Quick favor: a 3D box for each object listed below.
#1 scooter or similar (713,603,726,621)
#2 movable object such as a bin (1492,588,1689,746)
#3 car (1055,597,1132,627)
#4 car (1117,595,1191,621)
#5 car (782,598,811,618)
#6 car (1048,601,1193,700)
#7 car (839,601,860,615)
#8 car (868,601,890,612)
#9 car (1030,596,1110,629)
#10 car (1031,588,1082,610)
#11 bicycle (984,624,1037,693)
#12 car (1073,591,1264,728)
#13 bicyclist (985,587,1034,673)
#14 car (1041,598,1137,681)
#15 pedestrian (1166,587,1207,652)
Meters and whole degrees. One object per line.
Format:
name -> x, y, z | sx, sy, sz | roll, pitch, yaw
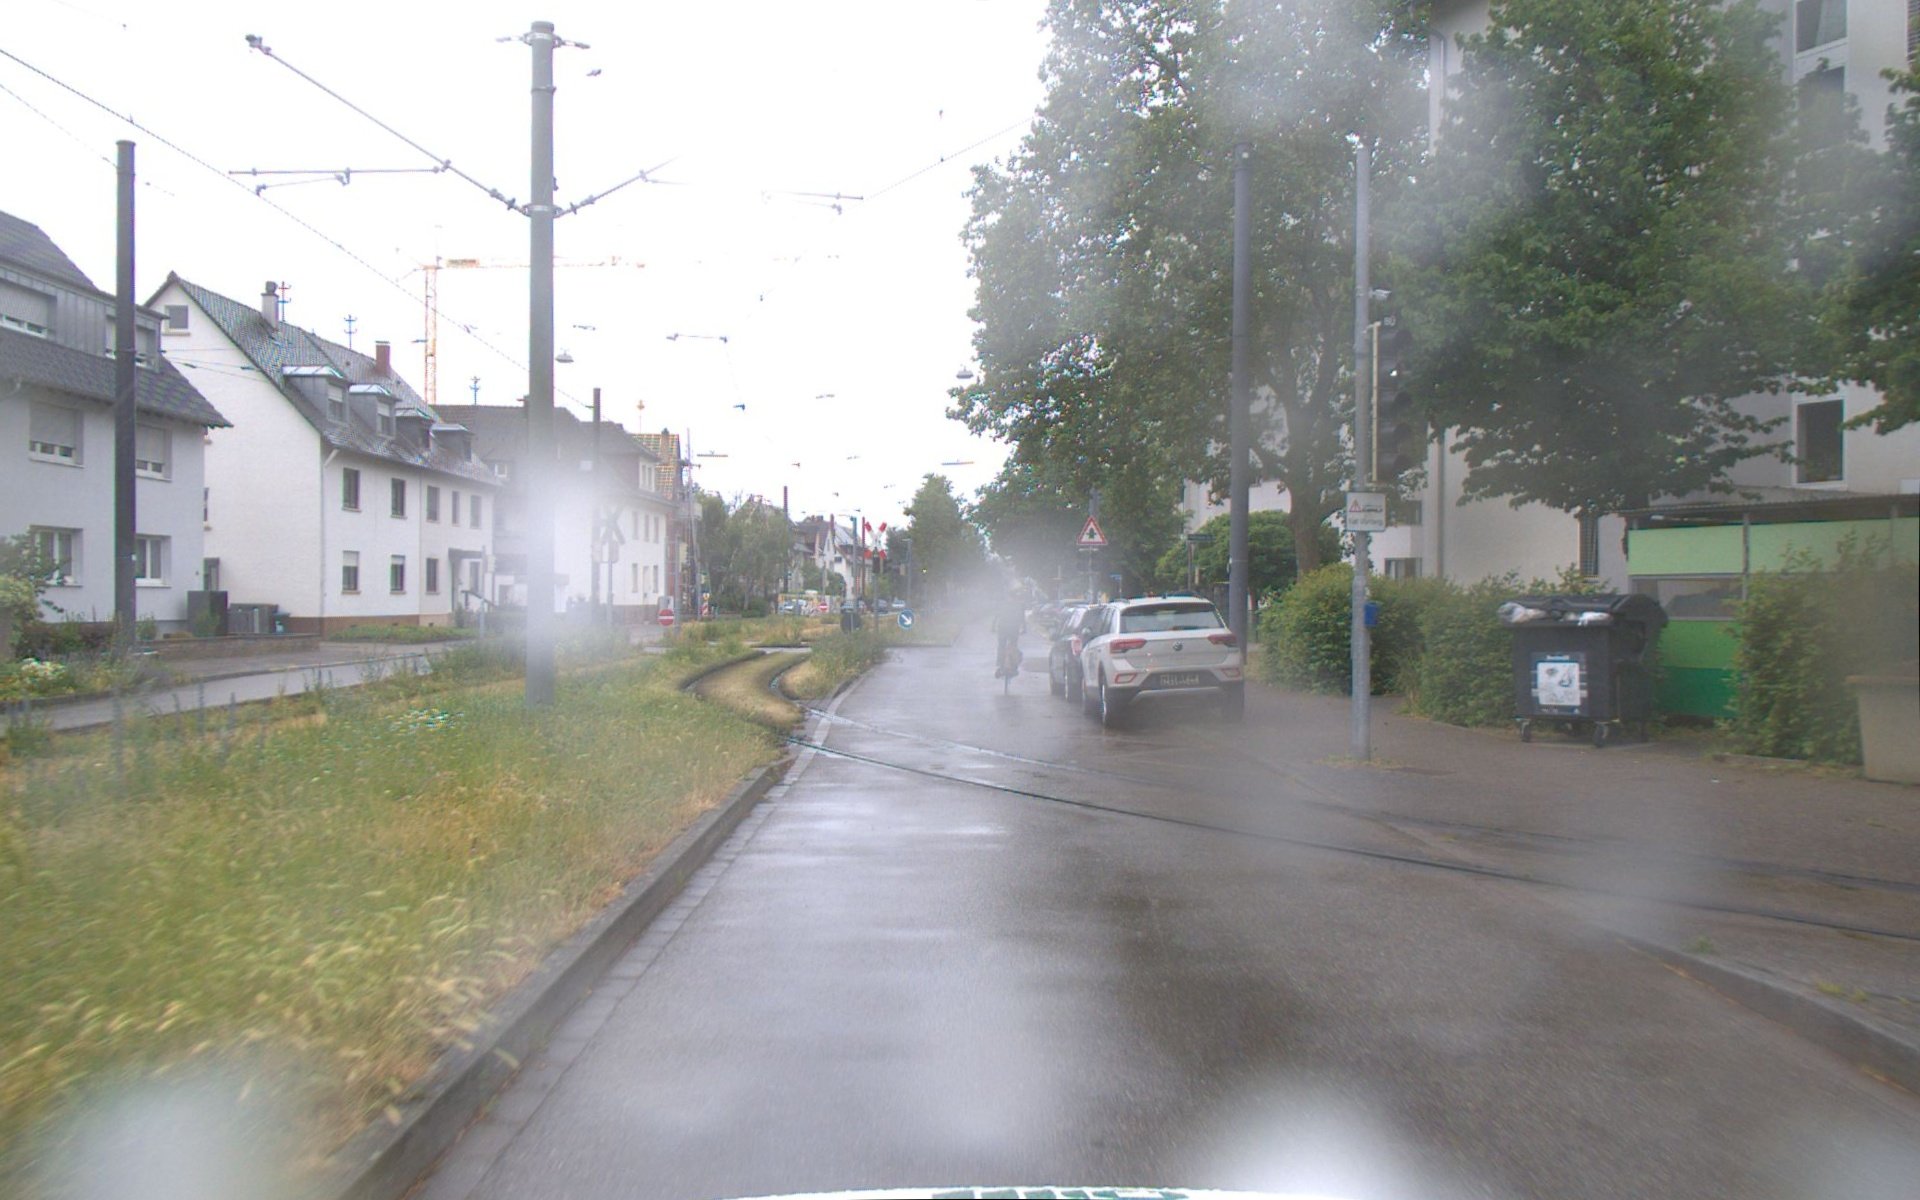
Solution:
scooter or similar -> -16.485, 0.828, 113.557 | 0.385, 1.201, 1.283 | 0, 0, 17
movable object such as a bin -> 6.220, 0.625, 16.342 | 1.142, 1.466, 1.456 | 0, 0, -39
car -> 6.967, 0.611, 86.018 | 3.962, 1.454, 1.710 | -1, 0, -40
car -> 13.506, 0.558, 115.114 | 4.720, 1.776, 1.993 | 0, 0, -13
car -> -13.702, 0.685, 139.005 | 1.674, 1.569, 4.424 | 2, 0, 4
car -> 2.548, 0.760, 27.182 | 1.861, 1.474, 4.183 | -1, 0, -2
car -> -11.273, 0.821, 168.691 | 1.628, 1.266, 4.073 | 2, 0, 3
car -> -9.563, 0.778, 194.621 | 1.856, 1.266, 4.690 | 2, 0, 6
car -> 5.950, 0.667, 89.261 | 4.309, 1.680, 1.831 | -1, 0, -40
car -> 8.669, -0.105, 148.058 | 4.091, 1.749, 1.980 | -3, 1, -30
bicycle -> 0.853, 0.990, 28.756 | 0.793, 1.116, 2.517 | -1, 0, -1
car -> 2.622, 0.702, 21.679 | 1.861, 1.602, 4.110 | -1, 0, -2
bicyclist -> 0.846, 0.518, 28.754 | 0.793, 1.458, 1.060 | -1, 0, -1
car -> 2.552, 0.747, 33.423 | 1.526, 1.545, 3.999 | -1, 0, -1
pedestrian -> 6.530, 0.562, 47.648 | 1.076, 1.845, 1.435 | 0, 0, 11
